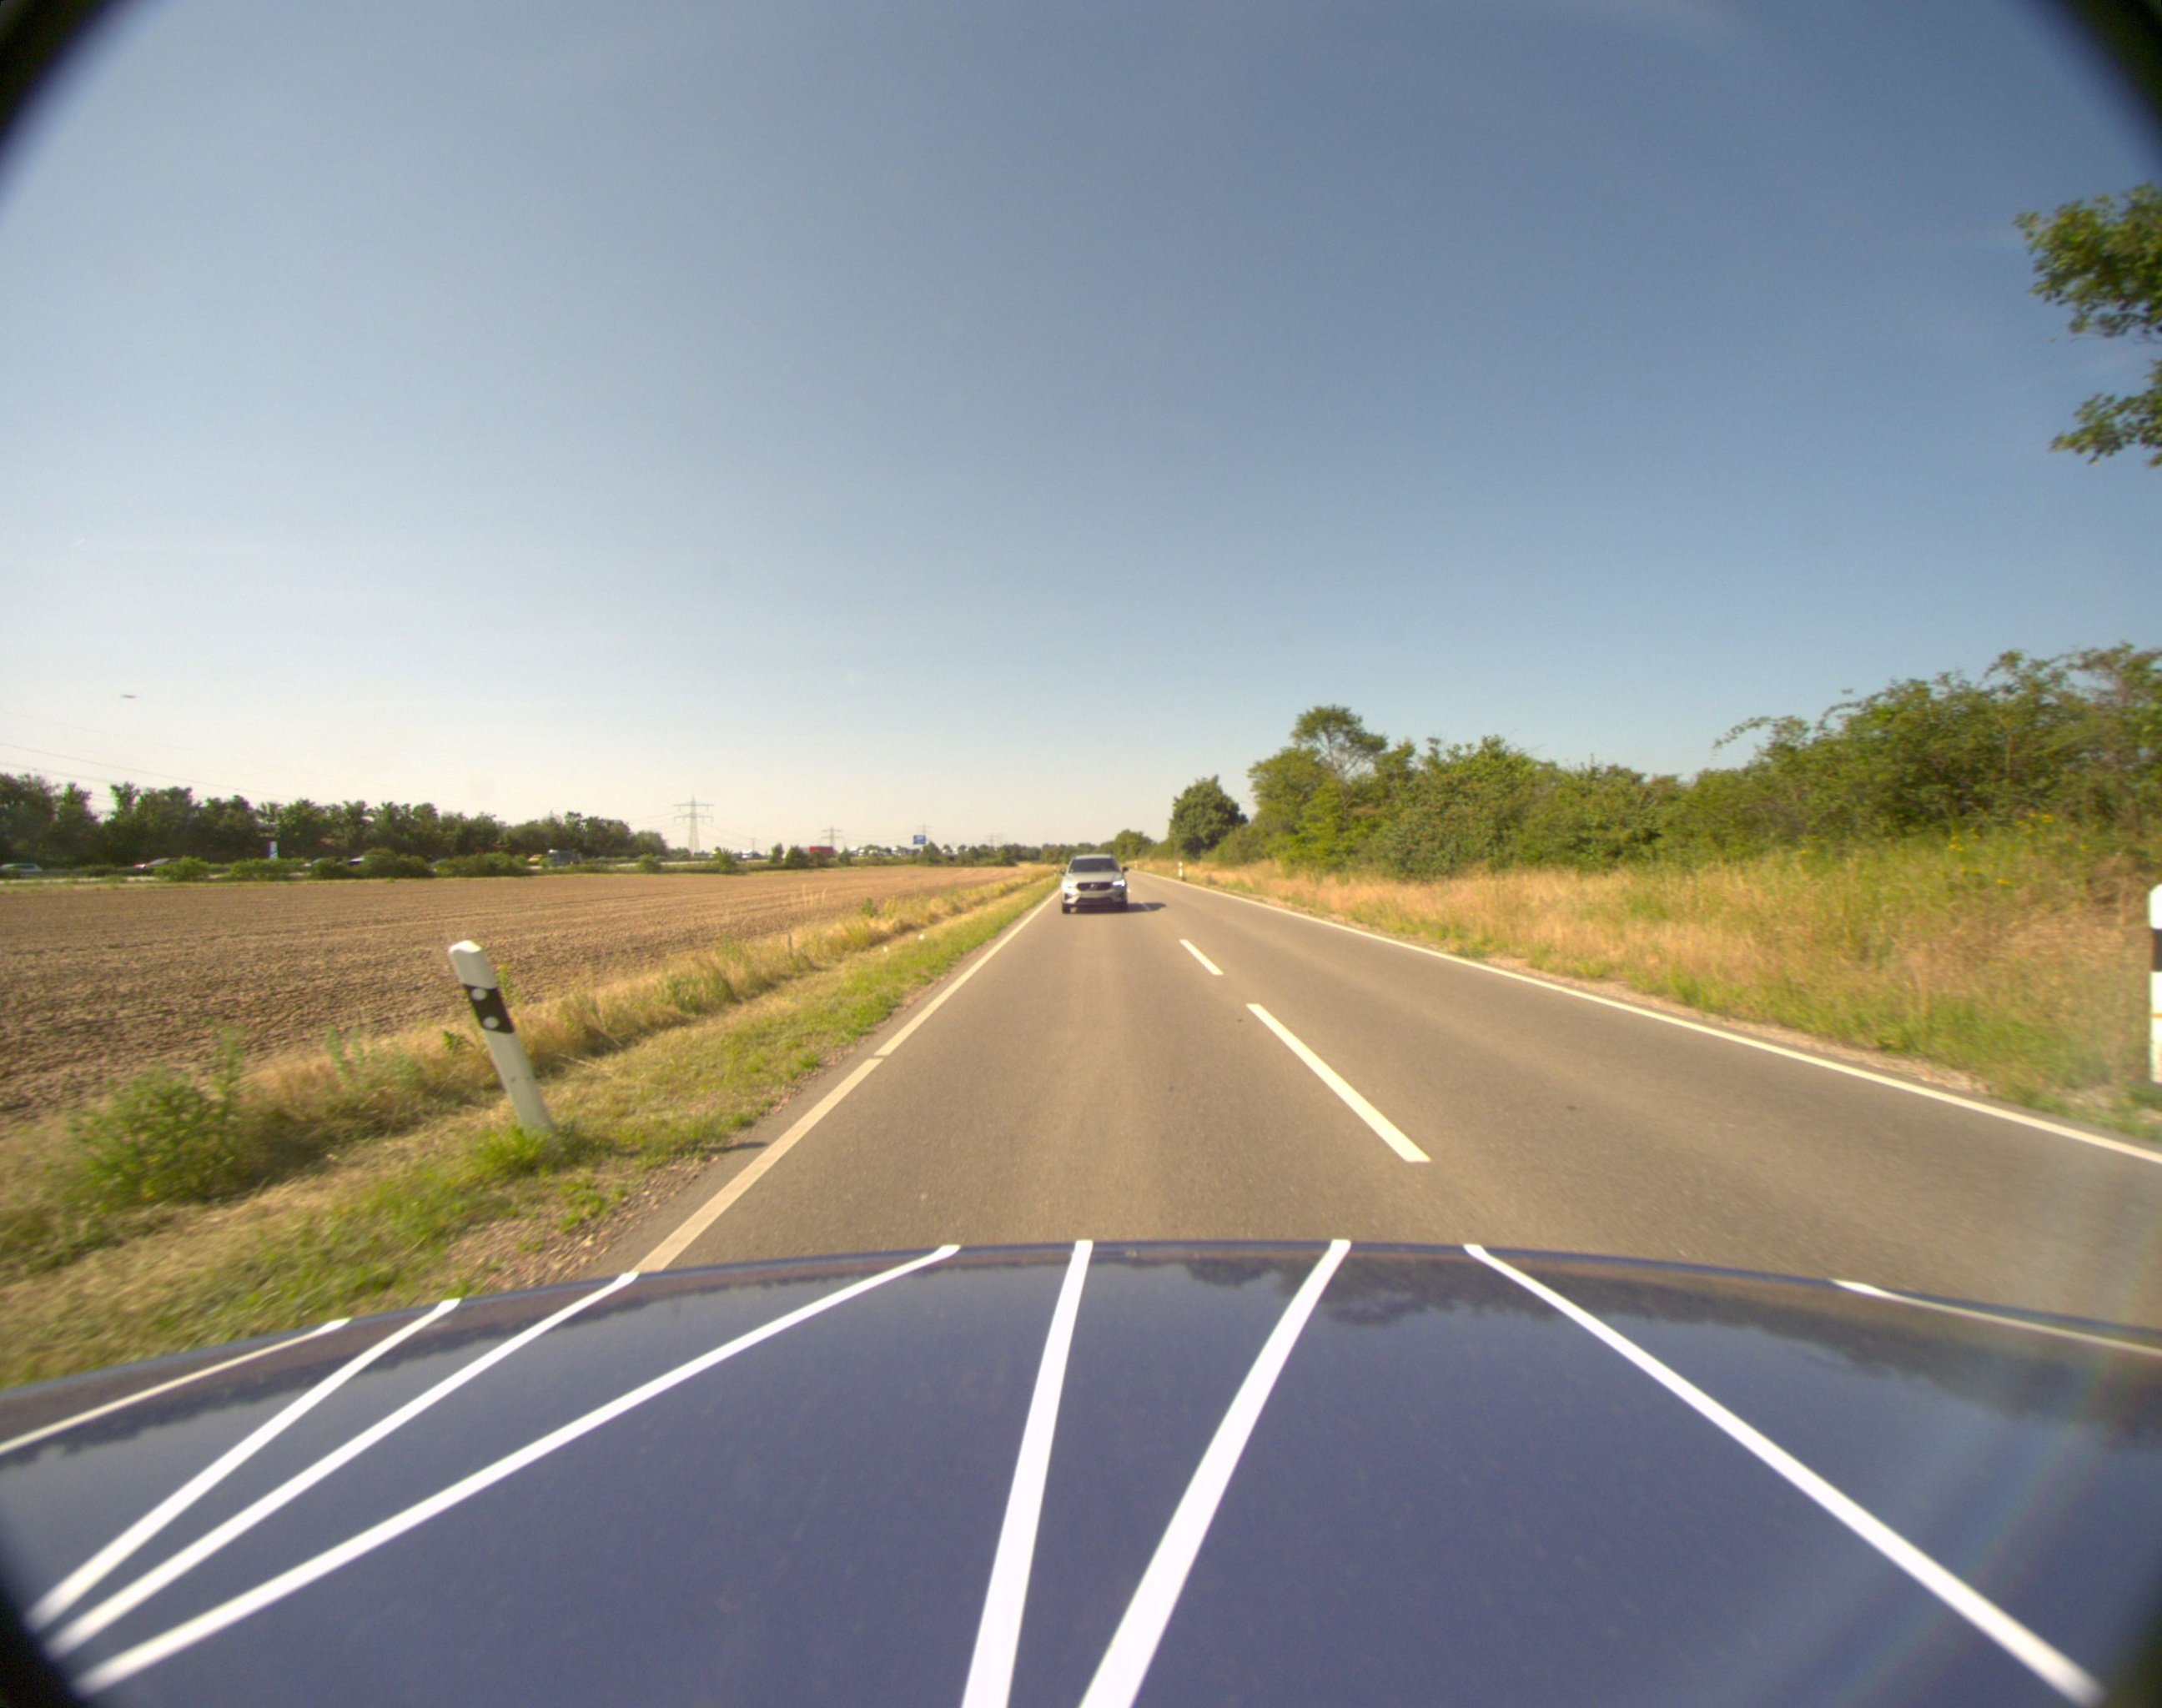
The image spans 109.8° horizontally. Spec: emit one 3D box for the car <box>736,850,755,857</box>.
[{"bbox_3d":[-80.993,-0.179,183.390,2.055,1.671,5.608,-2,1,2],"label":"car"}]

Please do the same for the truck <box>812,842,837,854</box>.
[{"bbox_3d":[-80.323,-1.921,238.029,2.910,3.538,13.690,-1,0,1],"label":"truck"}]

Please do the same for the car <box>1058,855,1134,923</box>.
[{"bbox_3d":[0.386,0.882,21.014,1.840,1.628,4.135,-2,0,0],"label":"car"}]

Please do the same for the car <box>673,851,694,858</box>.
[{"bbox_3d":[-94.795,0.068,181.229,2.055,1.671,5.608,-2,1,2],"label":"car"}]

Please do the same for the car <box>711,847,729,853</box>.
[{"bbox_3d":[-99.236,-1.041,208.957,2.055,1.671,5.608,-2,1,2],"label":"car"}]

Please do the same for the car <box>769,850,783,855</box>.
[{"bbox_3d":[-97.738,-0.446,243.847,2.055,1.671,5.608,-2,1,2],"label":"car"}]
